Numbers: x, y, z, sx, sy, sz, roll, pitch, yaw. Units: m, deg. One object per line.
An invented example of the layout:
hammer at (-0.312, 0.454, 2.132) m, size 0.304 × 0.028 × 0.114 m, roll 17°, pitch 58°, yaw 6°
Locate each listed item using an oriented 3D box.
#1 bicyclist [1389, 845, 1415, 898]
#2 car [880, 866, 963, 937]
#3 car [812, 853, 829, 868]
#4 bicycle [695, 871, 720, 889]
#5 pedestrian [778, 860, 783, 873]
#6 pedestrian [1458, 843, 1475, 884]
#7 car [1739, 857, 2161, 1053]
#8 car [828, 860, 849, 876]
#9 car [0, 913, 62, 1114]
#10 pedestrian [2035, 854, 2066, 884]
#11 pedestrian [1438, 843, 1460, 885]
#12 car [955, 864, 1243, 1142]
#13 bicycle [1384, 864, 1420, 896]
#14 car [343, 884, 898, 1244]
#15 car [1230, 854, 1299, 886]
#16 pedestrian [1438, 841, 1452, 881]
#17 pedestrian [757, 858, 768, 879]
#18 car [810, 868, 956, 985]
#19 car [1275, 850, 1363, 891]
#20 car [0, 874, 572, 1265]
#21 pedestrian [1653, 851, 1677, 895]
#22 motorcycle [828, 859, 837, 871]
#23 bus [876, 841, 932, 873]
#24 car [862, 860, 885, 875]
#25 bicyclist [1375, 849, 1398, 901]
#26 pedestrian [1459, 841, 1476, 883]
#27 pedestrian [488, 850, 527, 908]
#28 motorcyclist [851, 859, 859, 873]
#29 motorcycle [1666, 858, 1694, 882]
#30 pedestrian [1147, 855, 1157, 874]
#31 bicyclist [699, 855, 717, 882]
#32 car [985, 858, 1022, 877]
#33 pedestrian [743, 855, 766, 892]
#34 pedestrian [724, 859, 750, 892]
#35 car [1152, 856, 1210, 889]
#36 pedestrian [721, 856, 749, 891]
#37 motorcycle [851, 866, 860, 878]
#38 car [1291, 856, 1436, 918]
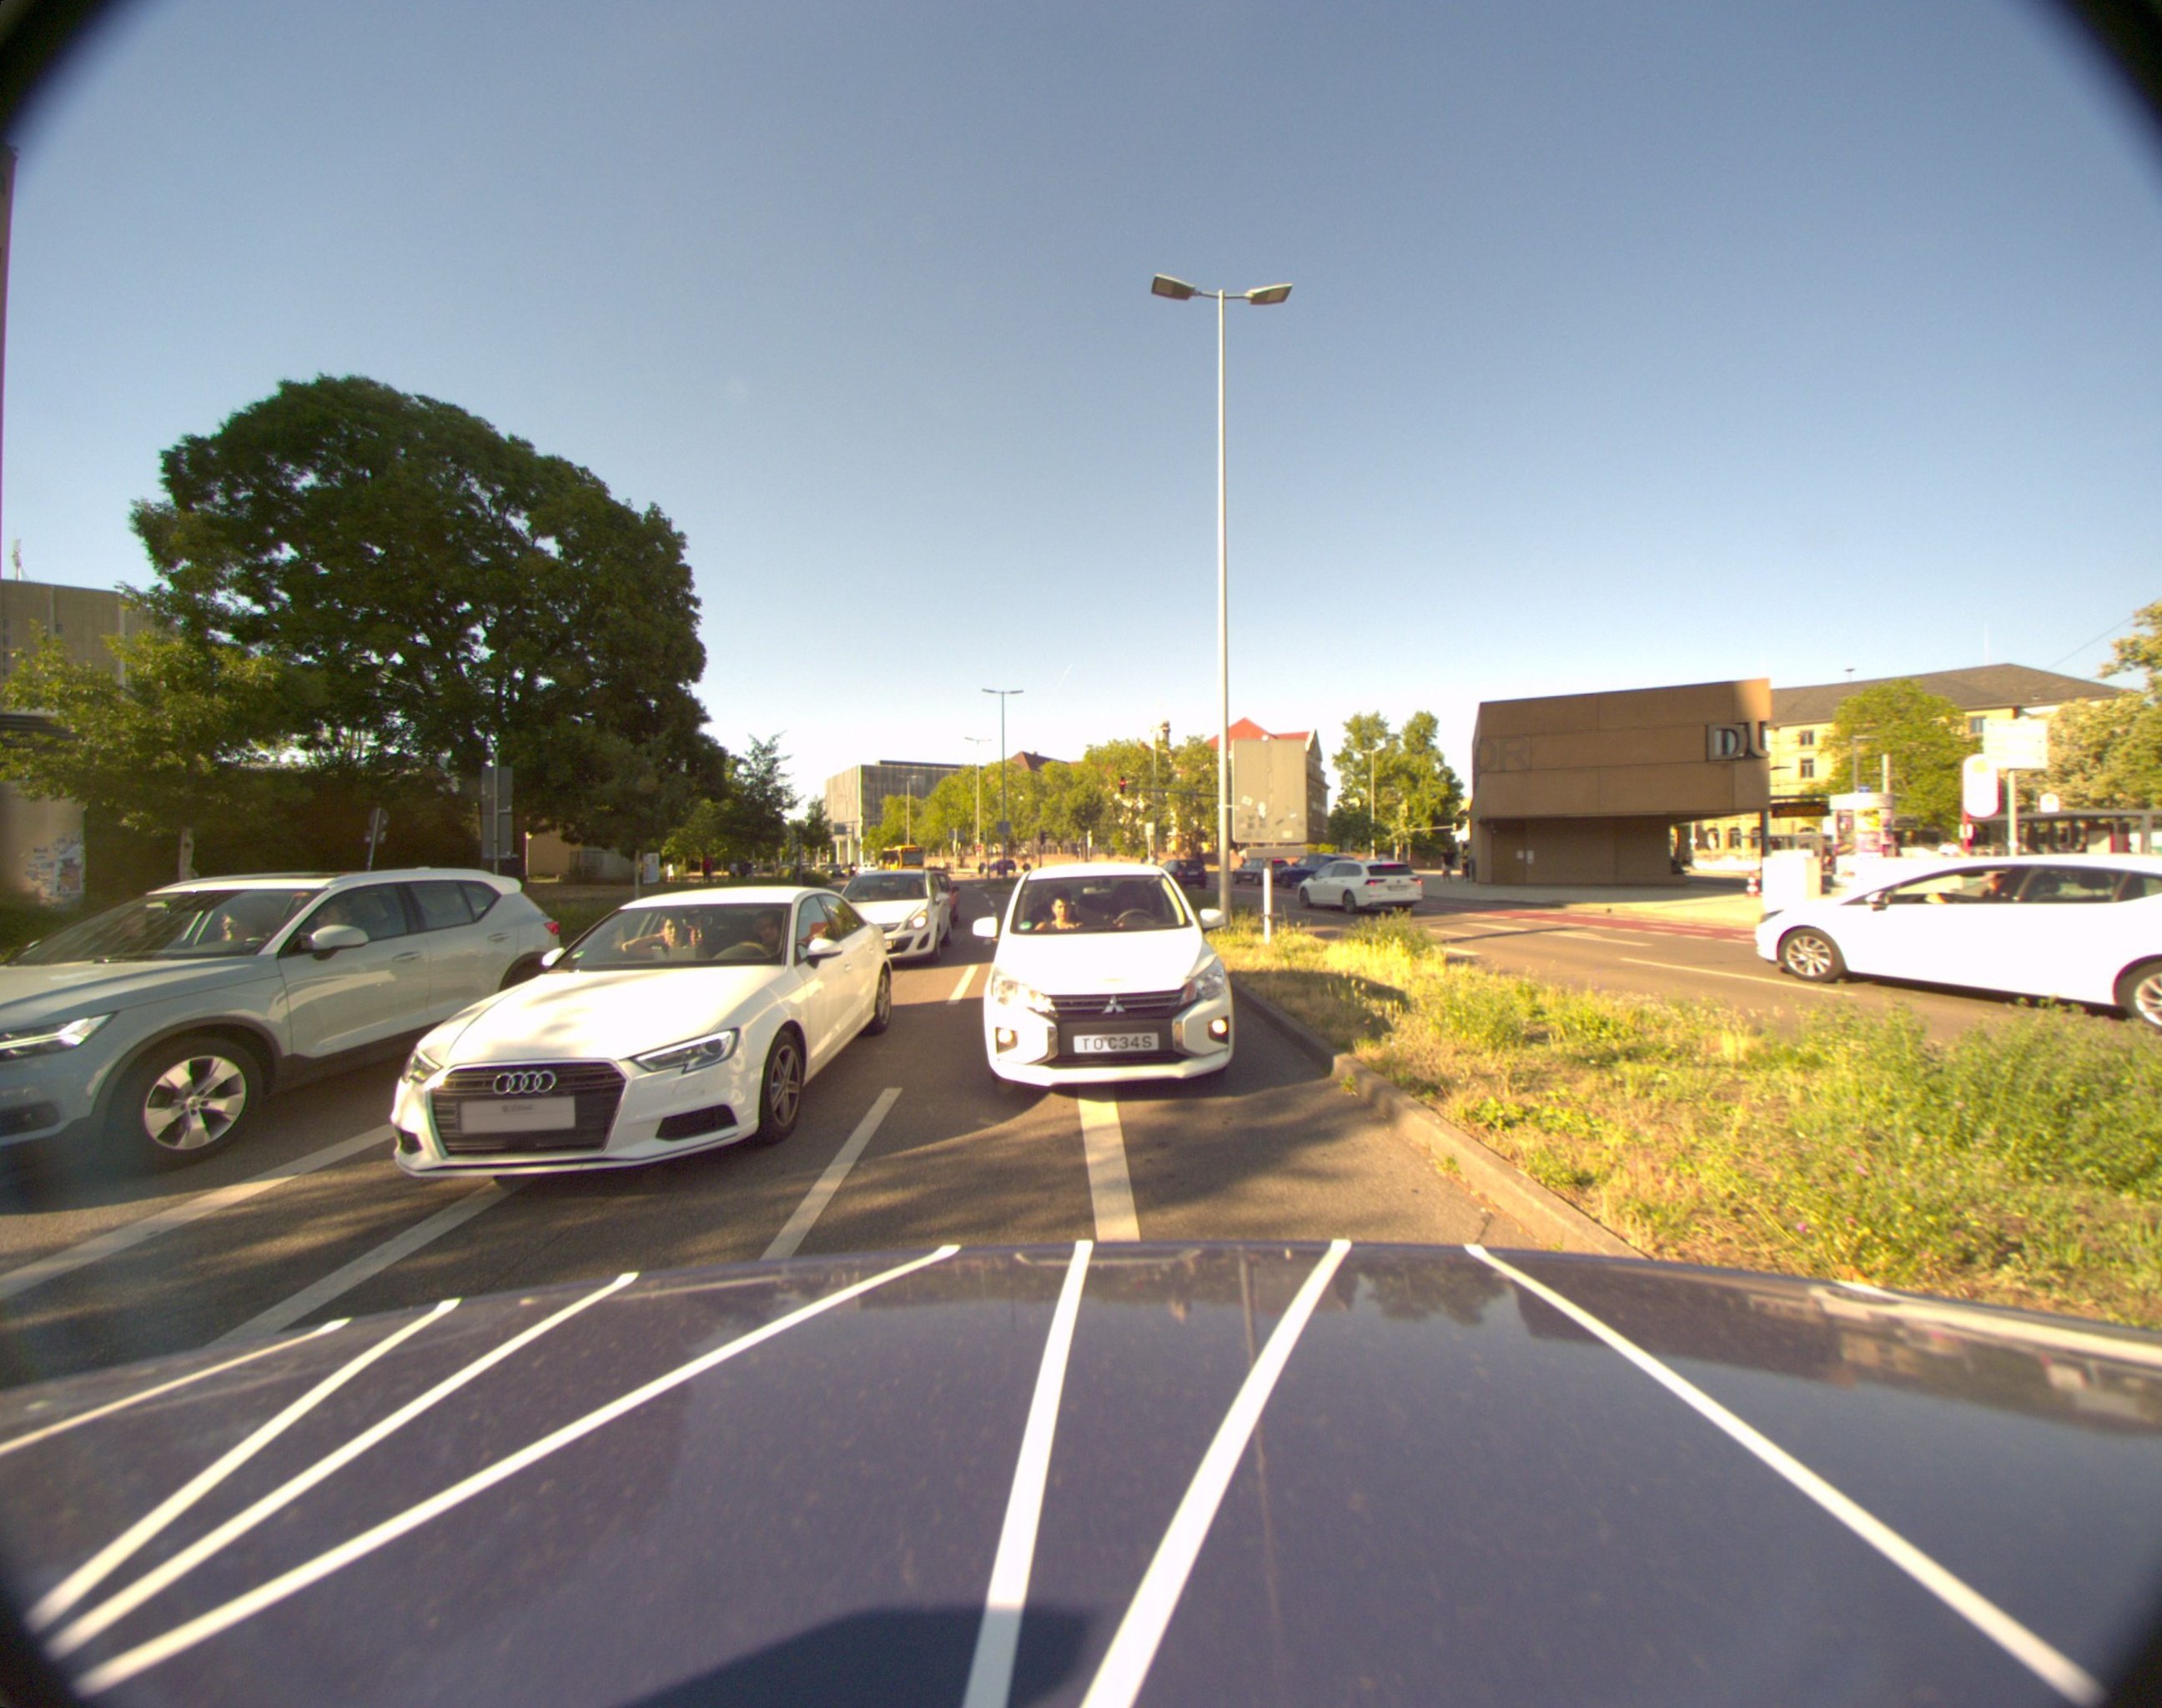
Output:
bicyclist at (12.449, 0.663, 29.501) m, size 0.611 × 2.002 × 0.708 m, roll -1°, pitch 1°, yaw -15°
car at (-3.899, 1.096, 19.102) m, size 1.628 × 1.451 × 4.039 m, roll -2°, pitch 1°, yaw -7°
car at (-31.439, 0.777, 91.615) m, size 1.748 × 1.696 × 3.993 m, roll -1°, pitch 0°, yaw -21°
bicycle at (-21.907, 1.492, 44.585) m, size 0.660 × 0.958 × 2.033 m, roll 0°, pitch 1°, yaw -7°
pedestrian at (-39.078, 1.659, 98.863) m, size 0.399 × 1.676 × 0.483 m, roll -1°, pitch 1°, yaw 1°
pedestrian at (19.130, 0.450, 37.735) m, size 0.655 × 2.002 × 0.469 m, roll -2°, pitch 1°, yaw 20°
car at (9.252, 0.811, 7.402) m, size 1.756 × 1.451 × 4.186 m, roll -2°, pitch 1°, yaw -7°
car at (-25.385, 1.437, 79.398) m, size 1.758 × 1.451 × 4.181 m, roll -3°, pitch 1°, yaw -21°
car at (-8.759, 1.239, 3.887) m, size 1.628 × 1.451 × 4.040 m, roll -2°, pitch 1°, yaw -2°
pedestrian at (38.976, 0.610, 30.550) m, size 0.539 × 1.180 × 0.659 m, roll -2°, pitch 1°, yaw 29°
pedestrian at (18.089, 0.494, 37.369) m, size 0.777 × 2.002 × 0.773 m, roll -2°, pitch 1°, yaw 13°
car at (0.055, 0.892, 6.439) m, size 1.628 × 1.451 × 4.040 m, roll -2°, pitch 1°, yaw -2°
bicycle at (12.456, 0.980, 29.540) m, size 0.464 × 1.185 × 1.395 m, roll -3°, pitch 1°, yaw -17°
car at (-2.554, 1.035, 5.395) m, size 1.628 × 1.396 × 3.832 m, roll -2°, pitch 1°, yaw -2°
car at (9.338, 0.786, 39.041) m, size 1.850 × 1.483 × 4.388 m, roll 1°, pitch 0°, yaw -10°
pedestrian at (18.353, 0.350, 38.297) m, size 0.467 × 2.002 × 0.657 m, roll -2°, pitch 1°, yaw 17°
pedestrian at (-31.425, 1.385, 74.965) m, size 0.852 × 2.002 × 0.833 m, roll -3°, pitch 1°, yaw -15°
car at (-3.075, 1.047, 12.584) m, size 1.628 × 1.451 × 4.039 m, roll -2°, pitch 1°, yaw -5°
car at (10.356, 0.673, 33.412) m, size 1.757 × 1.680 × 4.184 m, roll -1°, pitch 0°, yaw -14°
car at (-5.751, 1.051, 5.262) m, size 1.628 × 1.611 × 4.223 m, roll -2°, pitch 1°, yaw -2°
pedestrian at (27.885, 0.899, 36.273) m, size 0.780 × 2.002 × 0.771 m, roll -3°, pitch 2°, yaw -42°
motorcycle at (-28.536, 1.246, 87.194) m, size 0.719 × 1.297 × 2.230 m, roll -3°, pitch 1°, yaw -24°
bus at (-19.502, 0.317, 82.966) m, size 3.091 × 3.193 × 12.518 m, roll -3°, pitch 1°, yaw -26°
car at (-21.839, 1.358, 79.847) m, size 1.758 × 1.451 × 4.181 m, roll -3°, pitch 1°, yaw -23°
bicyclist at (11.795, 0.796, 29.372) m, size 0.611 × 2.002 × 0.565 m, roll -1°, pitch 1°, yaw -15°
pedestrian at (18.861, 0.404, 37.077) m, size 0.655 × 2.002 × 0.469 m, roll -2°, pitch 1°, yaw 20°
pedestrian at (-16.166, 0.702, 21.444) m, size 0.596 × 1.585 × 0.594 m, roll -2°, pitch 1°, yaw -8°
motorcyclist at (-25.854, 1.347, 86.814) m, size 0.712 × 1.581 × 0.689 m, roll -3°, pitch 1°, yaw -22°
motorcycle at (26.188, 0.705, 33.228) m, size 0.948 × 1.061 × 0.331 m, roll -1°, pitch 1°, yaw 39°
pedestrian at (6.895, 1.018, 73.680) m, size 0.797 × 1.886 × 0.612 m, roll 0°, pitch 1°, yaw 40°
bicyclist at (-21.934, 0.869, 44.677) m, size 0.617 × 1.551 × 0.870 m, roll -2°, pitch 1°, yaw -8°
car at (-8.416, 1.475, 82.312) m, size 2.004 × 2.002 × 3.989 m, roll -3°, pitch 1°, yaw -43°
pedestrian at (-18.304, 1.096, 42.644) m, size 0.895 × 2.002 × 0.881 m, roll -2°, pitch 1°, yaw -10°
pedestrian at (-18.791, 1.175, 41.544) m, size 1.010 × 1.711 × 0.884 m, roll -2°, pitch 1°, yaw -10°
car at (4.818, 0.863, 37.321) m, size 1.756 × 1.451 × 4.185 m, roll -2°, pitch 1°, yaw -8°
pedestrian at (-20.859, 1.159, 45.814) m, size 1.143 × 2.002 × 1.285 m, roll -2°, pitch 1°, yaw -10°
motorcycle at (-25.833, 2.008, 86.917) m, size 0.719 × 1.297 × 2.230 m, roll -3°, pitch 1°, yaw -23°
car at (7.805, 0.834, 21.510) m, size 1.850 × 1.483 × 4.388 m, roll -2°, pitch 1°, yaw -10°
